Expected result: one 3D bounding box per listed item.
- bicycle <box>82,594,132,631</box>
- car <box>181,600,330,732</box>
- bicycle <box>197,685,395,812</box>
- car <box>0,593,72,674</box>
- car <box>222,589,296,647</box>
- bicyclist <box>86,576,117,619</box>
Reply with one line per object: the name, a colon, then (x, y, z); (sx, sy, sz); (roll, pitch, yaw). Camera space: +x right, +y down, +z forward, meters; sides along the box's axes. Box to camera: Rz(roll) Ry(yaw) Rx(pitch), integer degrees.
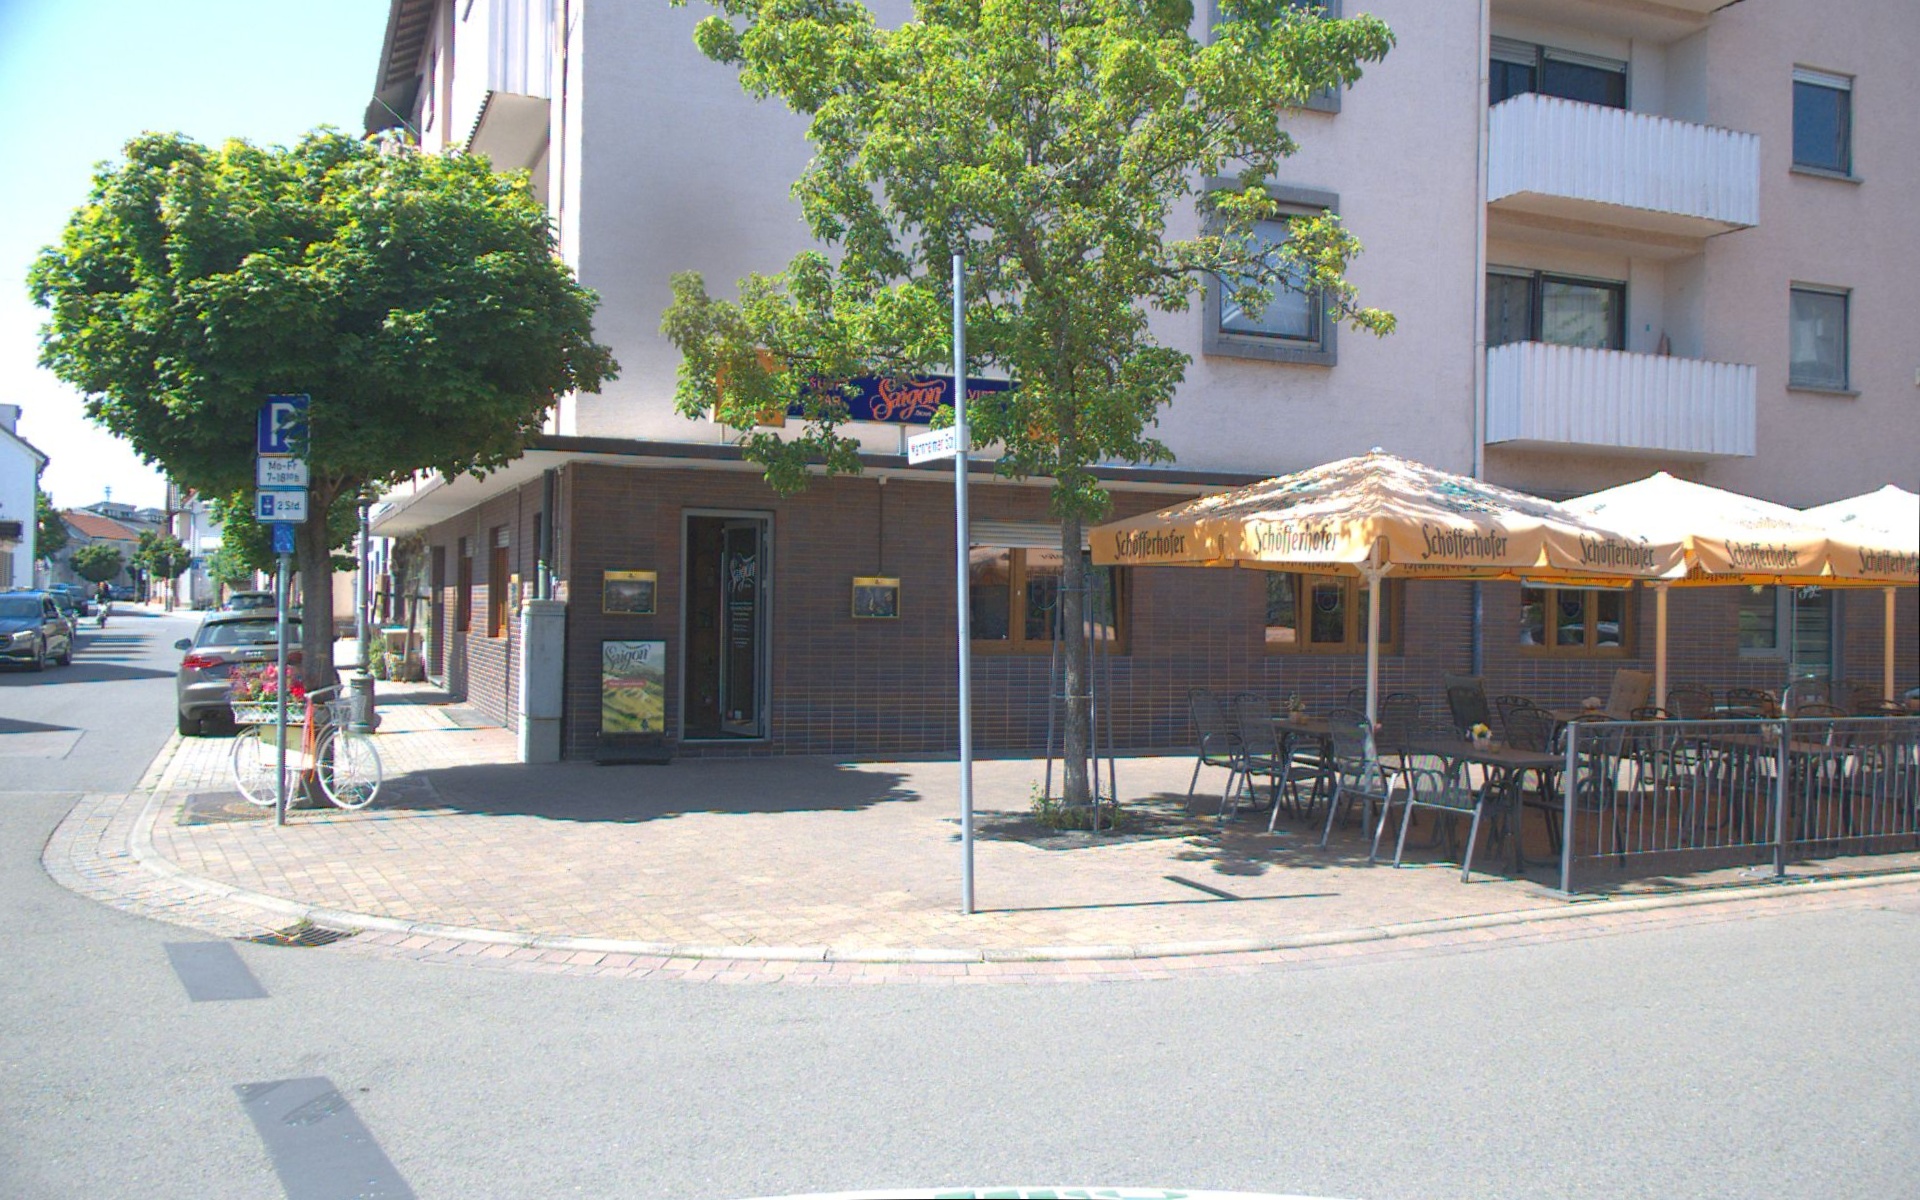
bicycle: (-33.700, 0.469, 65.294); (1.606, 1.394, 3.887); (0, 0, -30)
car: (-8.640, 0.747, 20.440); (1.554, 1.479, 3.463); (0, 0, -22)
bicycle: (-5.076, 1.120, 12.655); (1.379, 0.912, 0.465); (-1, 1, 13)
car: (-18.895, 0.698, 32.943); (1.885, 1.507, 4.804); (0, -2, -25)
car: (-21.783, 0.533, 51.390); (2.016, 1.718, 4.806); (0, 0, -24)
bicyclist: (-33.734, -0.096, 64.969); (1.035, 1.666, 1.117); (0, 0, -30)
